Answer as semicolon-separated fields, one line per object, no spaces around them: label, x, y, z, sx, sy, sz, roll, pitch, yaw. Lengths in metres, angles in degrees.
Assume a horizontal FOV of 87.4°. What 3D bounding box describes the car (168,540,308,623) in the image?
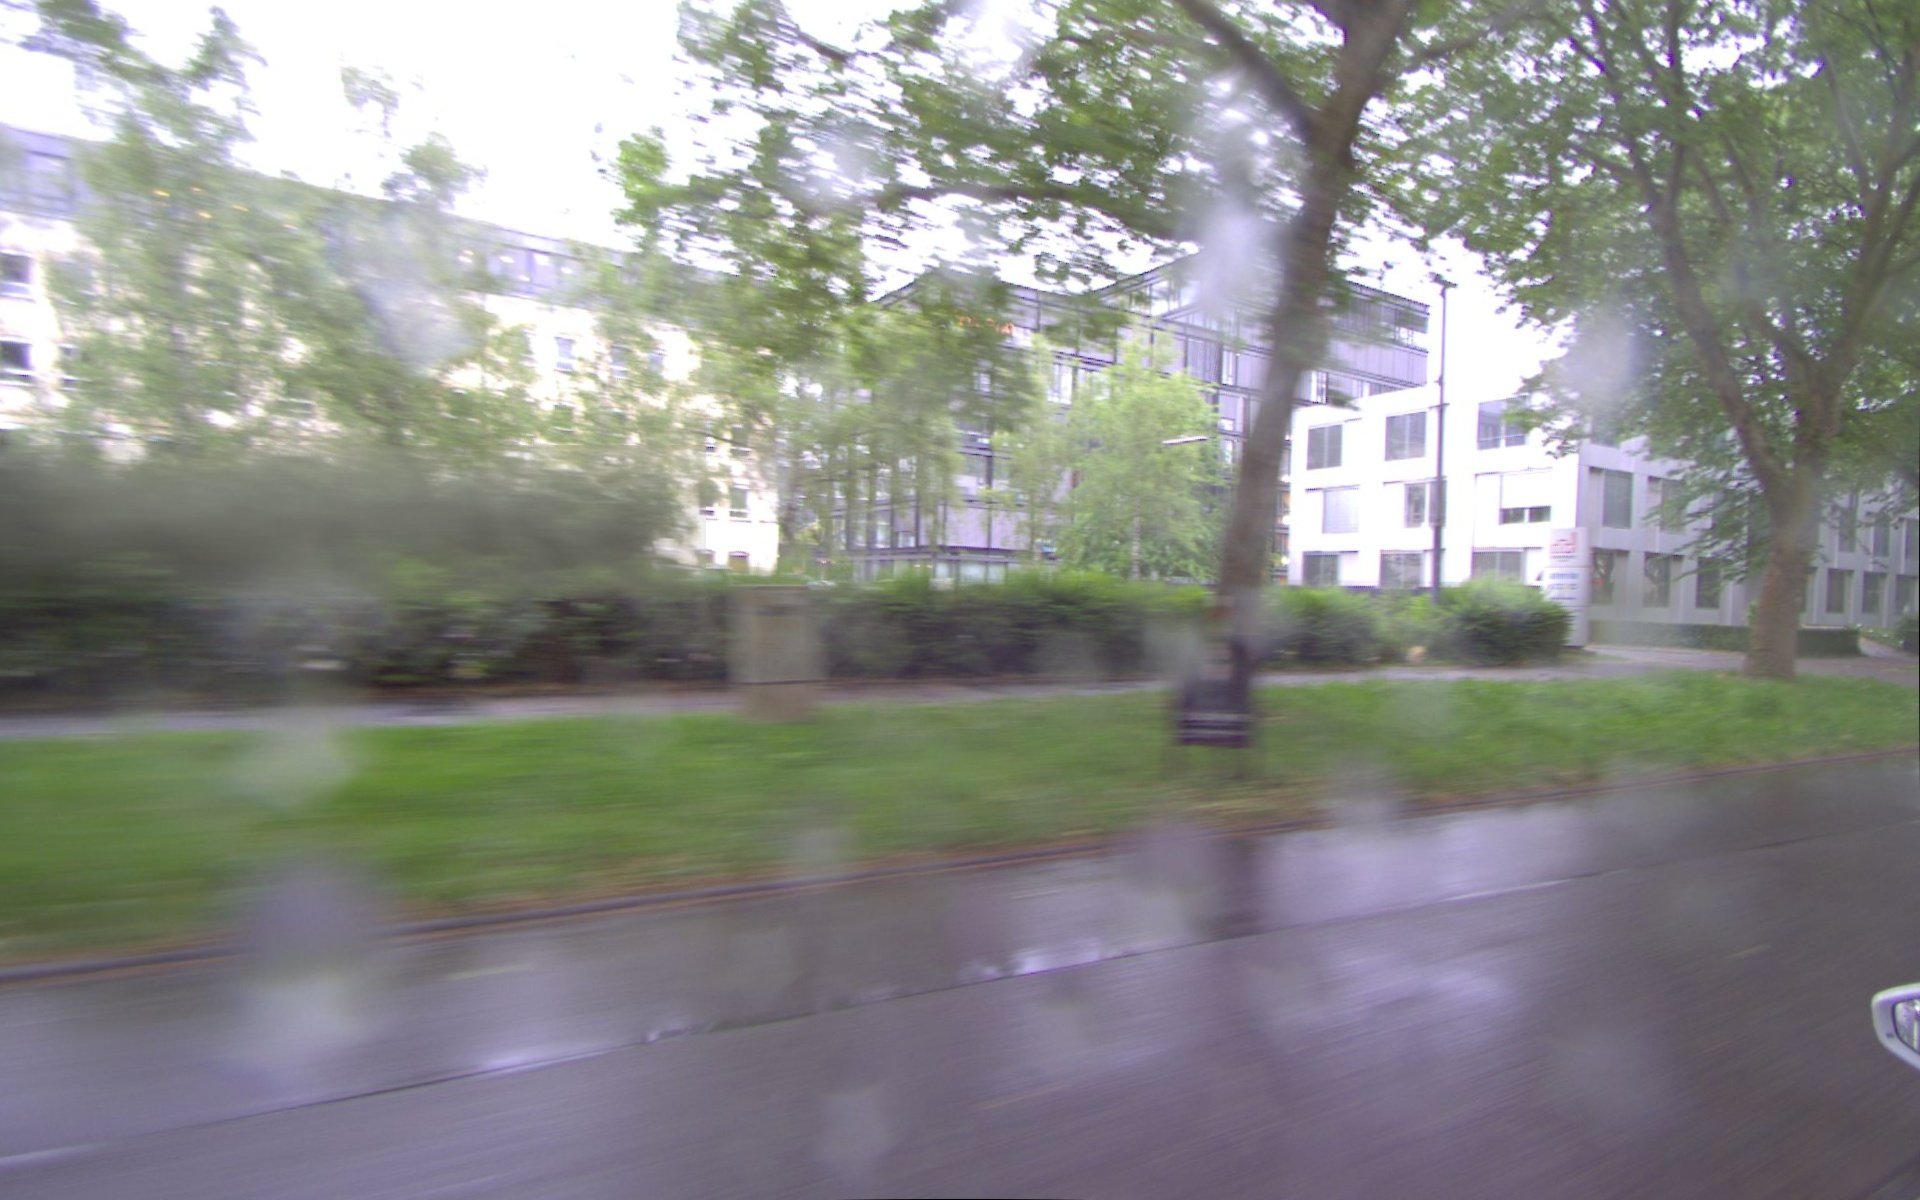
car;-15.415;-0.350;21.669;1.976;1.587;3.969;1;0;-29
